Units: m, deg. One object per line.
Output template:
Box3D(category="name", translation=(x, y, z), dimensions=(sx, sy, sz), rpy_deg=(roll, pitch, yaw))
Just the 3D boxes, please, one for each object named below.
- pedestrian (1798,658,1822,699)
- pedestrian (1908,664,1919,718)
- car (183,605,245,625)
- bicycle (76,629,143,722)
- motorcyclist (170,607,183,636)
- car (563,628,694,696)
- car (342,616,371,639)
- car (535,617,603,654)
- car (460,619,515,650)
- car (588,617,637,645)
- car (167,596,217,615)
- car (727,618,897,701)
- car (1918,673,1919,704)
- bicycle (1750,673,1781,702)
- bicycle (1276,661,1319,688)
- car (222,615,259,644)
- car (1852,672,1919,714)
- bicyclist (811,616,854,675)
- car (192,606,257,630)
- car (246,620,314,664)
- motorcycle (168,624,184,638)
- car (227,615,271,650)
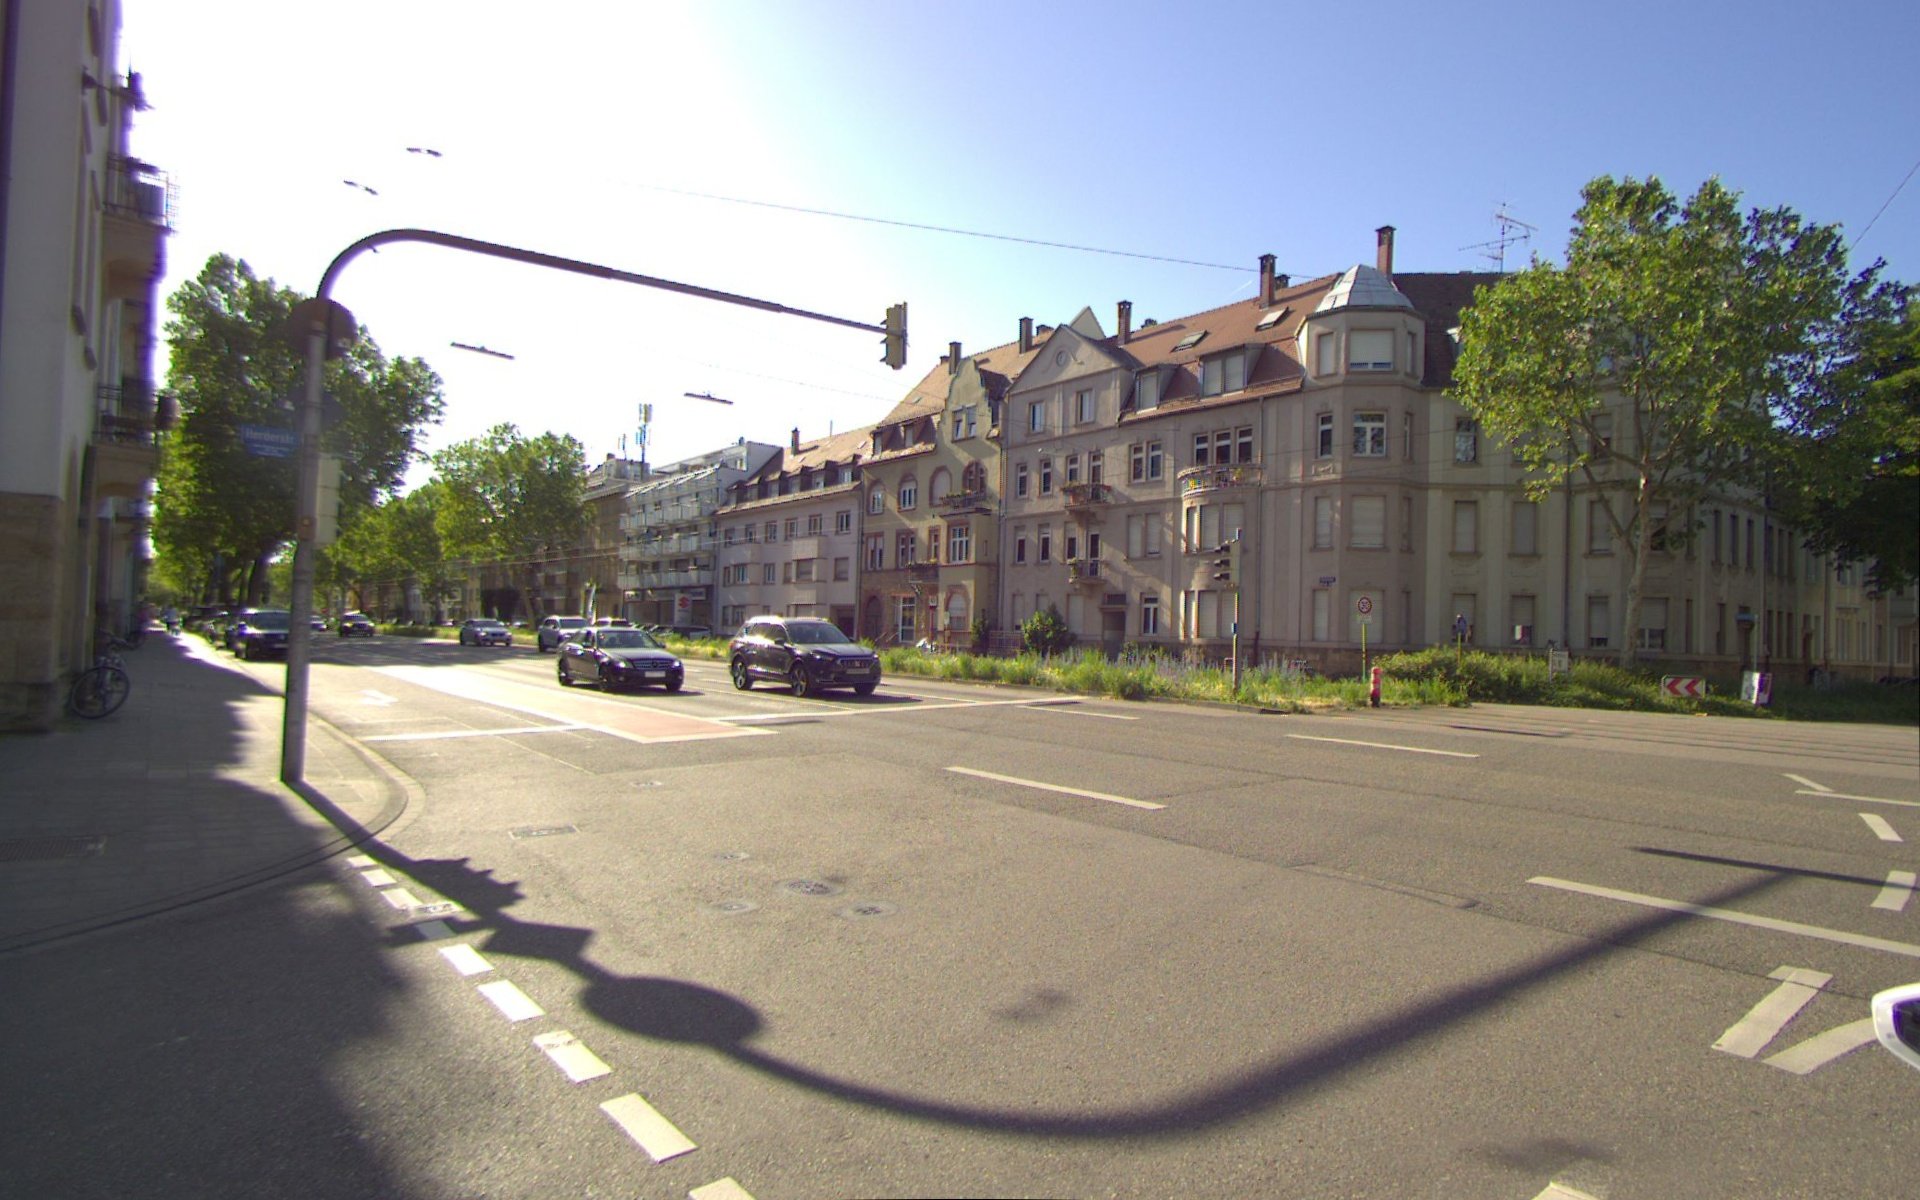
Box3D(category="pedestrian", translation=(35.811, 3.323, 42.315), dimensions=(0.884, 1.680, 0.458), rpy_deg=(3, -2, -29))
Box3D(category="pedestrian", translation=(31.014, 2.930, 32.235), dimensions=(0.671, 1.704, 0.691), rpy_deg=(3, -2, -26))
Box3D(category="car", translation=(-70.387, 1.387, 94.833), dimensions=(1.809, 1.728, 4.595), rpy_deg=(3, 0, 13))
Box3D(category="bicycle", translation=(-11.493, 0.992, 13.615), dimensions=(0.605, 1.148, 1.790), rpy_deg=(3, -2, -39))
Box3D(category="motorcyclist", translation=(-39.520, 1.078, 50.662), dimensions=(0.448, 1.466, 0.551), rpy_deg=(4, -3, -41))
Box3D(category="car", translation=(-7.796, 1.394, 23.428), dimensions=(1.750, 1.407, 3.855), rpy_deg=(2, -2, -37))
Box3D(category="car", translation=(-44.116, 2.015, 73.349), dimensions=(1.705, 1.572, 3.965), rpy_deg=(3, -2, -32))
Box3D(category="car", translation=(-17.401, 1.565, 44.648), dimensions=(1.750, 1.550, 3.977), rpy_deg=(3, -2, -37))
Box3D(category="car", translation=(-25.305, 1.819, 53.719), dimensions=(1.751, 1.550, 3.852), rpy_deg=(1, -1, -39))
Box3D(category="car", translation=(-24.598, 2.199, 70.938), dimensions=(1.969, 1.860, 4.069), rpy_deg=(4, -3, -39))
Box3D(category="car", translation=(-80.307, 0.586, 105.033), dimensions=(1.816, 1.728, 3.795), rpy_deg=(3, 0, 36))
Box3D(category="car", translation=(-3.401, 1.253, 22.497), dimensions=(1.982, 1.666, 4.196), rpy_deg=(1, -1, -37))
Box3D(category="car", translation=(46.560, 4.190, 46.152), dimensions=(1.686, 1.471, 3.412), rpy_deg=(5, -3, -34))
Box3D(category="bicycle", translation=(34.072, 3.693, 42.482), dimensions=(1.964, 1.169, 0.510), rpy_deg=(3, 0, -37))
Box3D(category="bicycle", translation=(12.372, 2.745, 36.865), dimensions=(0.493, 0.916, 1.422), rpy_deg=(4, -3, -40))
Box3D(category="car", translation=(-40.618, 1.666, 56.721), dimensions=(1.627, 1.609, 3.368), rpy_deg=(2, -2, -36))
Box3D(category="car", translation=(36.223, 3.519, 37.737), dimensions=(1.600, 1.495, 3.855), rpy_deg=(4, -4, -37))
Box3D(category="bicyclist", translation=(-3.462, 1.228, 27.217), dimensions=(0.681, 1.562, 1.063), rpy_deg=(3, -2, -37))
Box3D(category="car", translation=(-56.901, 1.340, 77.766), dimensions=(1.809, 1.728, 3.811), rpy_deg=(3, 0, 11))
Box3D(category="car", translation=(-24.042, 1.465, 35.468), dimensions=(1.750, 1.407, 3.855), rpy_deg=(3, -2, -37))
Box3D(category="motorcycle", translation=(-39.543, 1.570, 50.652), dimensions=(0.540, 0.686, 1.283), rpy_deg=(5, -3, -40))
Box3D(category="car", translation=(-34.032, 1.542, 48.062), dimensions=(1.627, 1.609, 3.368), rpy_deg=(2, -2, -36))
